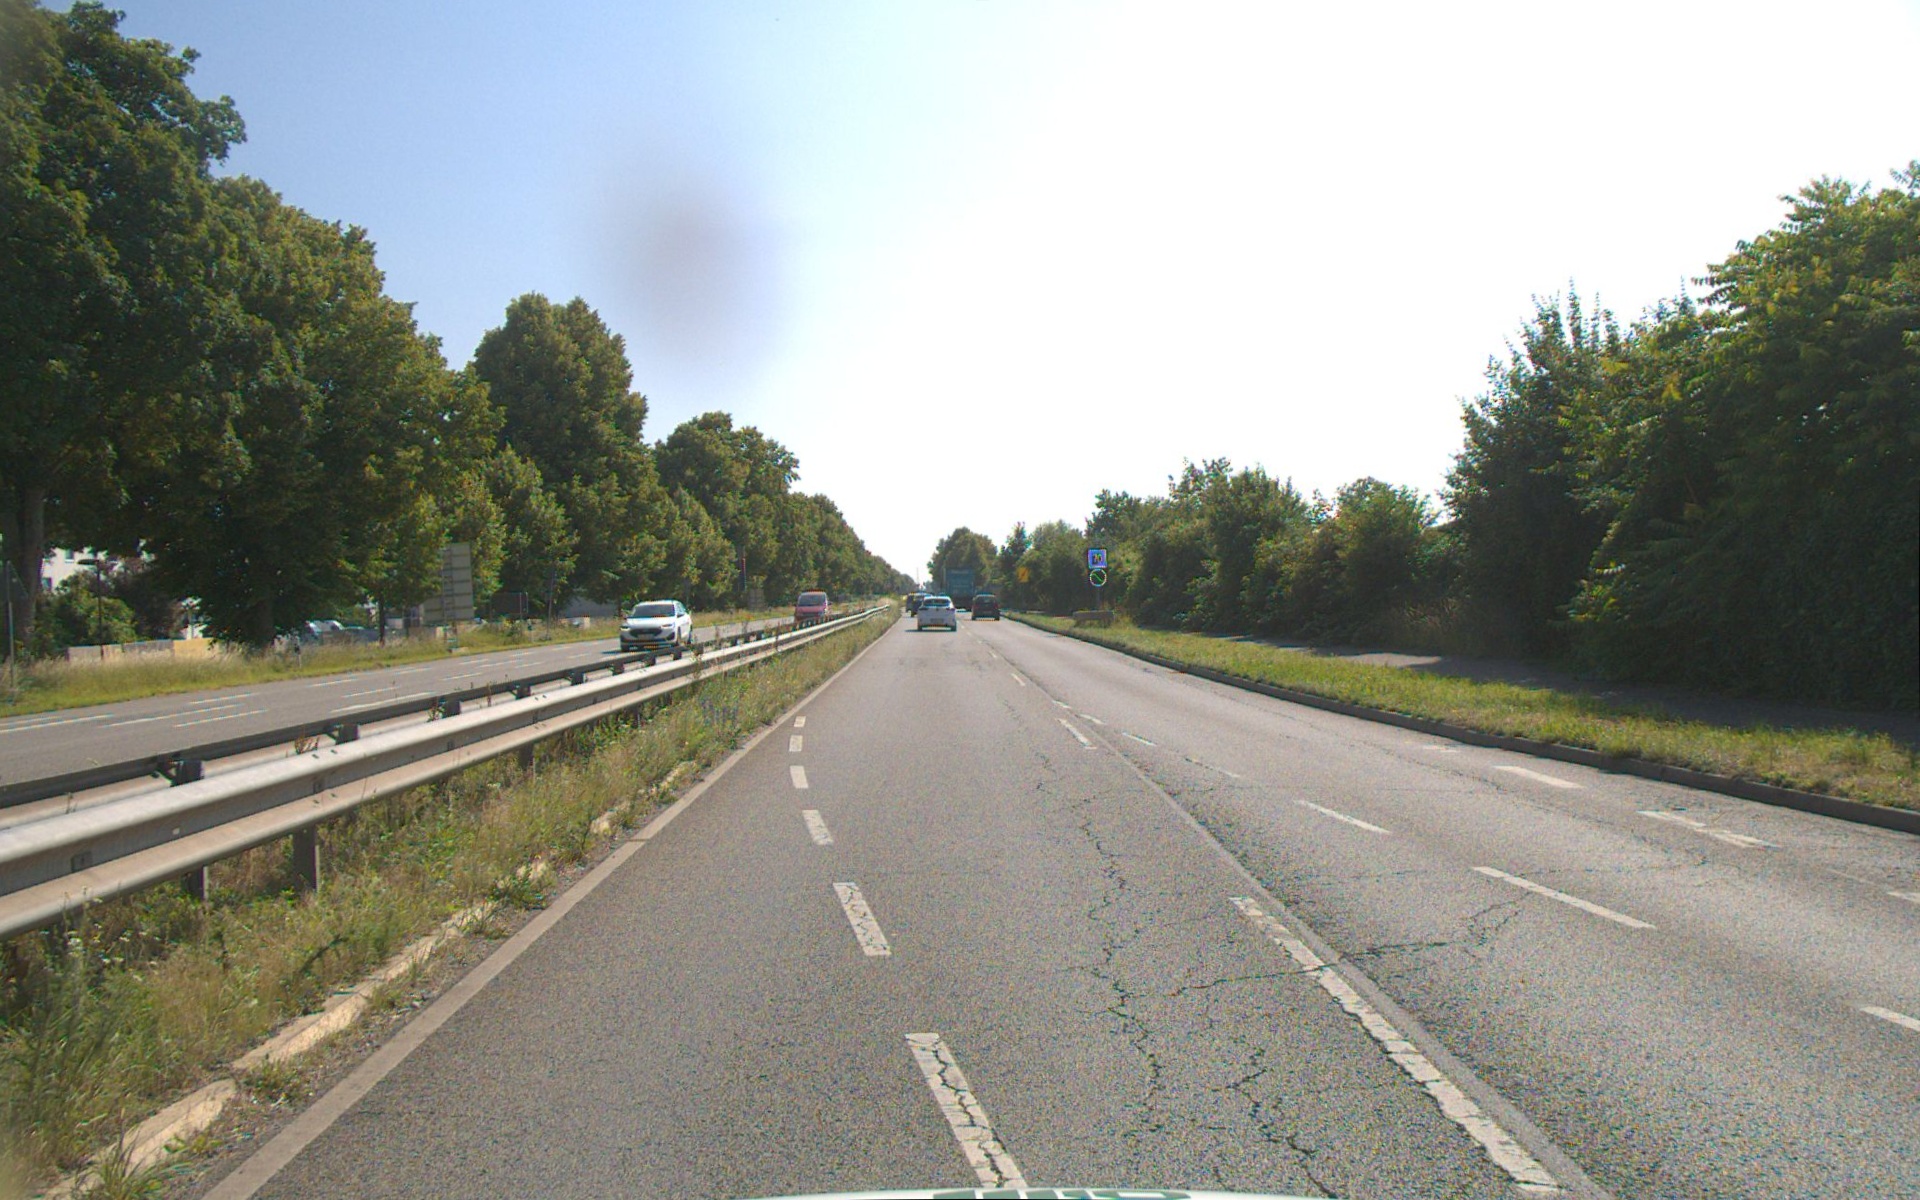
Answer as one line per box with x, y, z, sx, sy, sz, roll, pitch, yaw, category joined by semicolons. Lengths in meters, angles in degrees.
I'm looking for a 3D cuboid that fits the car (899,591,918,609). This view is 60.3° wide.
-4.498;-0.006;145.348;1.540;1.439;3.277;-2;0;-1;car

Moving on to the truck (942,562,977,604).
-0.074;-1.509;146.732;2.833;3.488;9.168;-2;0;-1;truck

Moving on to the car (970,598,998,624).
1.392;0.645;95.931;1.540;1.439;3.277;-1;0;-1;car

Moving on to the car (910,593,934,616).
-2.538;0.276;110.662;1.540;1.439;3.277;-2;0;-1;car

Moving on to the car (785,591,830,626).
-7.150;0.367;77.882;1.874;1.528;4.089;-2;0;-2;car

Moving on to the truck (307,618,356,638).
-67.122;2.971;176.639;4.410;2.049;2.052;-1;0;-2;truck

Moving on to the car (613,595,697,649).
-9.454;0.656;51.533;1.954;1.528;4.089;-2;0;-2;car

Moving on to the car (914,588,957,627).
-1.020;0.294;71.120;1.762;1.580;4.000;-1;1;0;car
